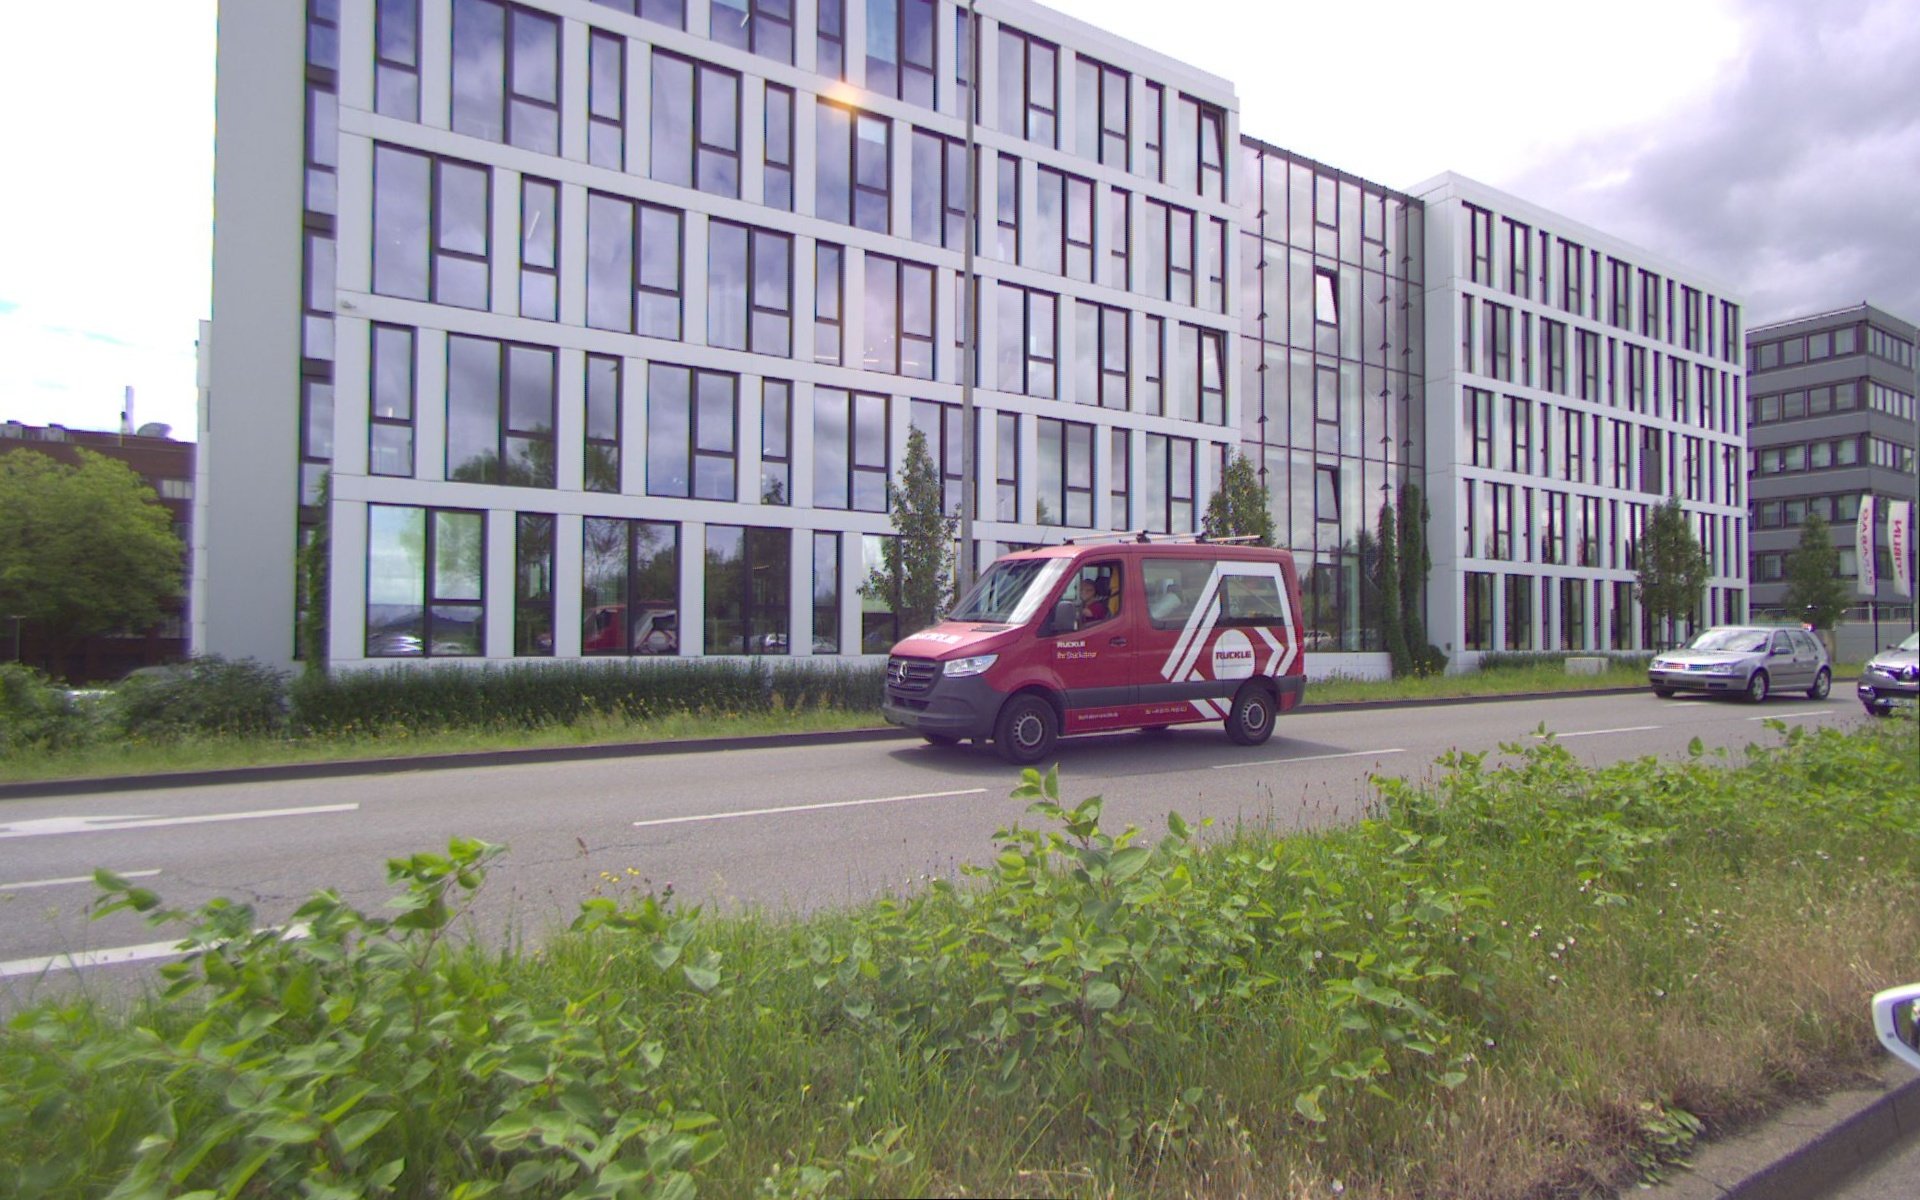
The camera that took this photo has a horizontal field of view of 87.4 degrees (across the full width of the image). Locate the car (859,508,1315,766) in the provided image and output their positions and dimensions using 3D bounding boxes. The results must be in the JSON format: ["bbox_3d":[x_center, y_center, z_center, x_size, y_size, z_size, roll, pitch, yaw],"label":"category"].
[{"bbox_3d":[1.588,0.420,11.726,5.180,2.444,1.984,1,-2,-31],"label":"car"}]

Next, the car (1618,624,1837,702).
[{"bbox_3d":[15.075,1.172,19.725,3.950,1.372,1.986,1,-1,-28],"label":"car"}]

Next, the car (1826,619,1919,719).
[{"bbox_3d":[16.573,1.087,16.519,3.941,1.537,1.932,1,-1,-22],"label":"car"}]
